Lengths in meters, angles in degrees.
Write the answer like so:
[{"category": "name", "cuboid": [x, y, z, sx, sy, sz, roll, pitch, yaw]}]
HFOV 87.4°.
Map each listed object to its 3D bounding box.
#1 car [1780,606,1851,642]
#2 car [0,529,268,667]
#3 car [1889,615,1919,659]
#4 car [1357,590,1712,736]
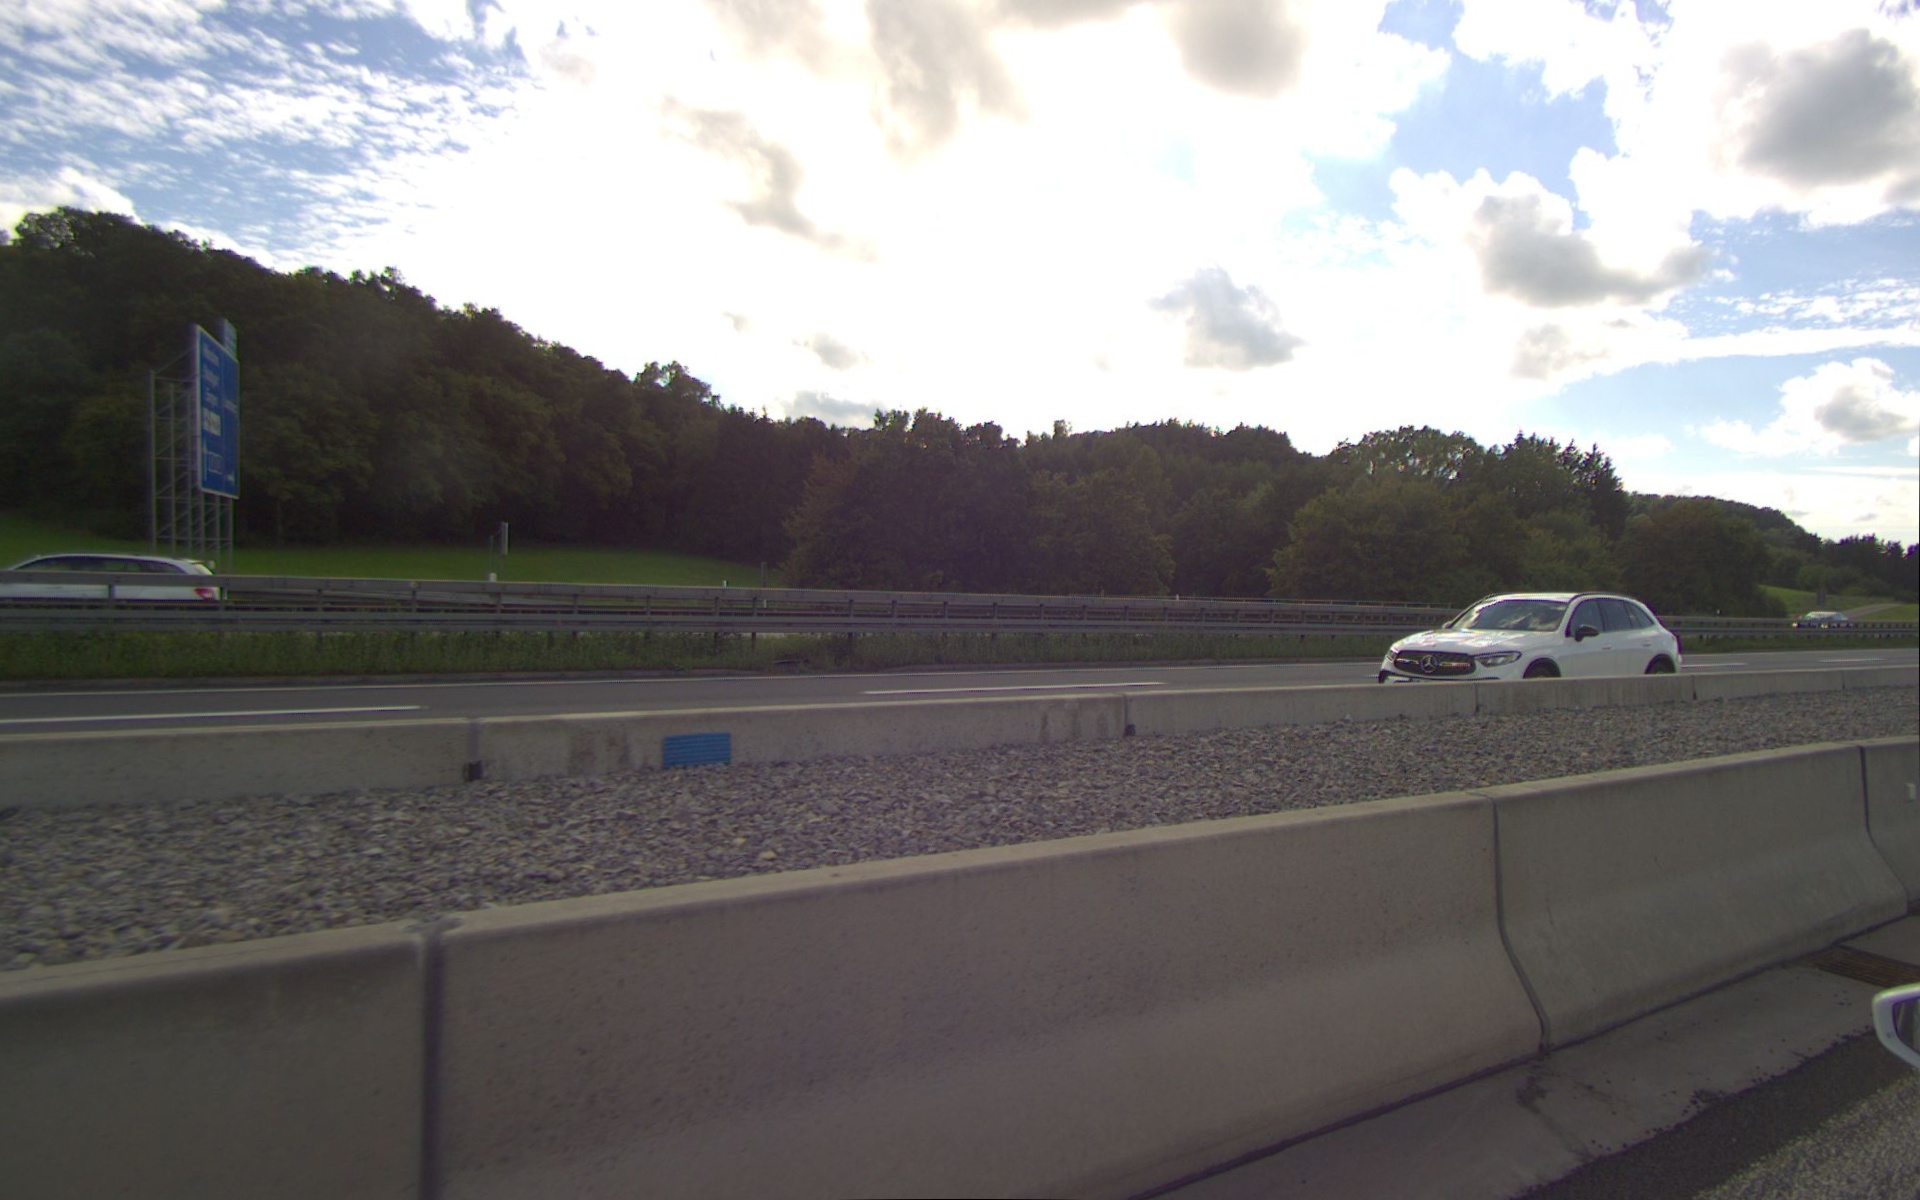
[{"category": "car", "cuboid": [50.858, 1.455, 59.728, 4.224, 2.040, 1.983, 1, 0, -32]}, {"category": "car", "cuboid": [-15.447, -0.028, 17.735, 5.085, 2.263, 1.984, 1, 0, -30]}, {"category": "car", "cuboid": [40.063, 1.543, 41.257, 4.106, 1.722, 1.716, 1, 0, -32]}, {"category": "car", "cuboid": [7.762, 0.773, 13.418, 5.076, 1.632, 1.833, 2, 0, -31]}]
